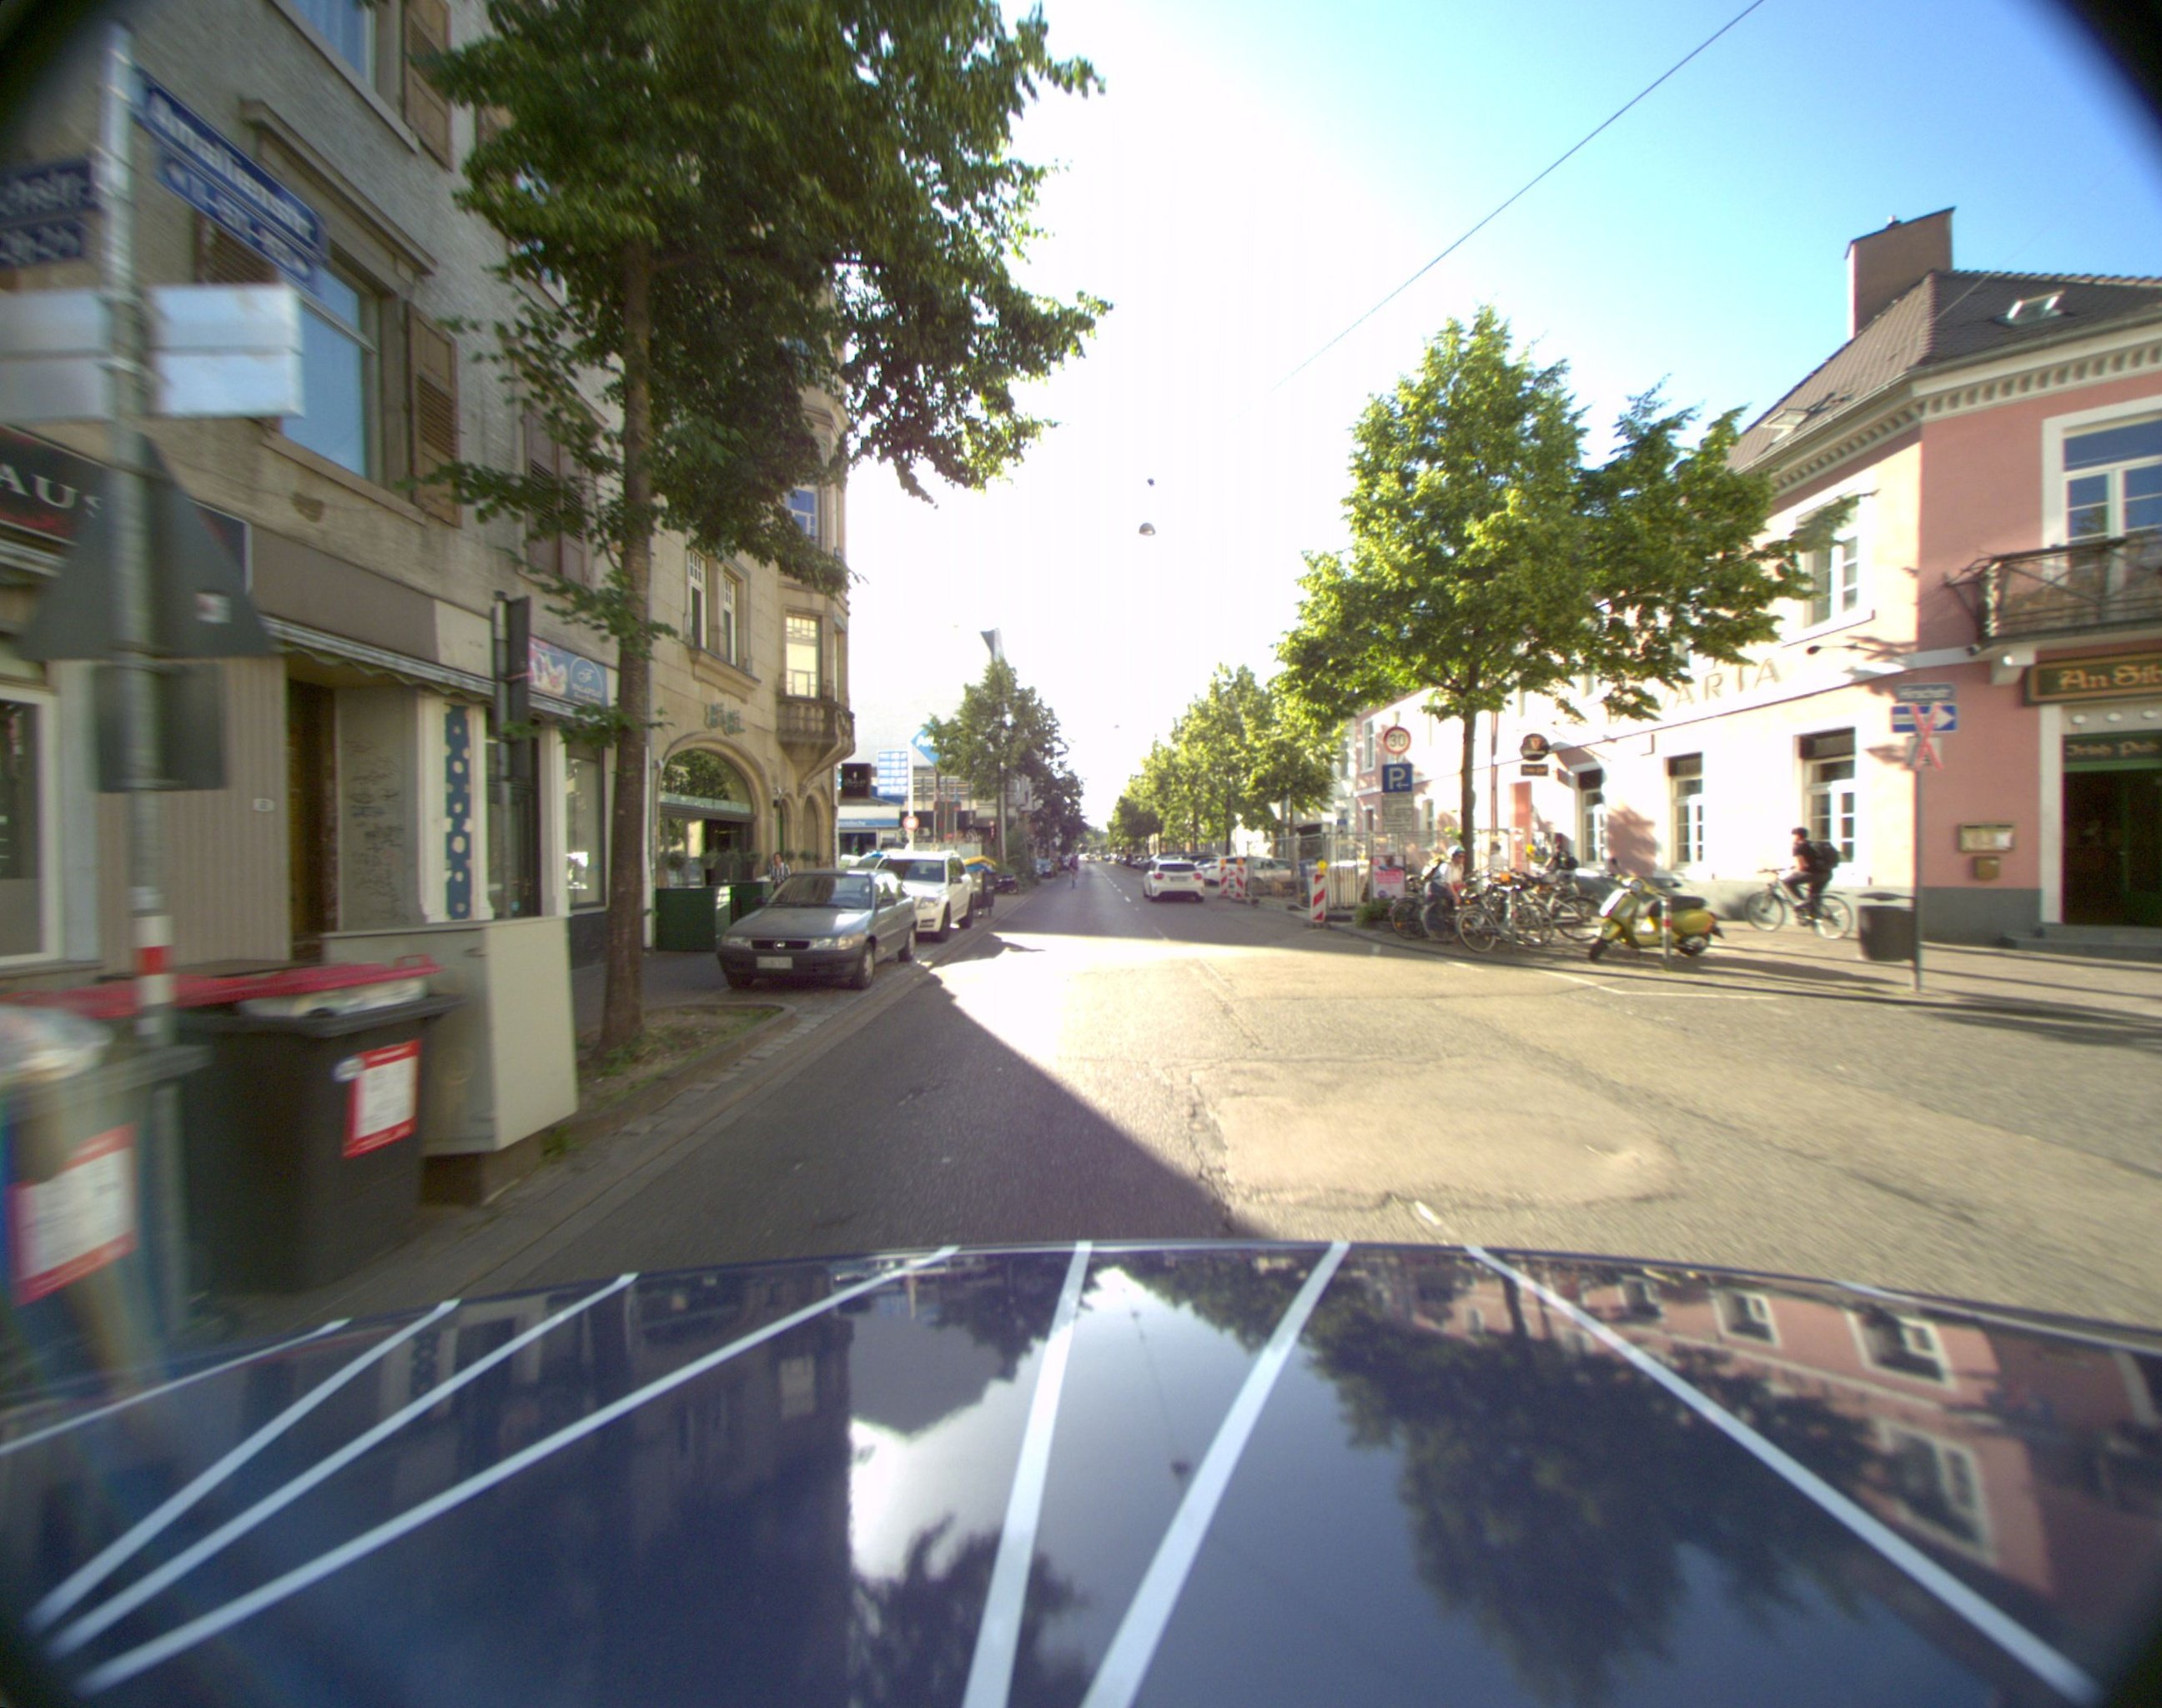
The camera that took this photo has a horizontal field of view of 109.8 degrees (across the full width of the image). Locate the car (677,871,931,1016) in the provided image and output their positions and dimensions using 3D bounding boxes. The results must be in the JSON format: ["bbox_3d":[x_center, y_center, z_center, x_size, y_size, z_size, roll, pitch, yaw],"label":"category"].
[{"bbox_3d":[-3.348,0.997,10.123,1.835,1.410,4.159,1,0,0],"label":"car"}]

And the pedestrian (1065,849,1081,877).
[{"bbox_3d":[-0.407,0.440,38.623,0.804,1.381,0.931,-1,0,-1],"label":"pedestrian"}]

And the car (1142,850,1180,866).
[{"bbox_3d":[9.166,0.494,87.574,4.134,1.792,1.911,-1,0,0],"label":"car"}]

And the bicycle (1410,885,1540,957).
[{"bbox_3d":[6.384,1.069,12.317,2.006,1.023,0.473,-2,1,-12],"label":"bicycle"}]

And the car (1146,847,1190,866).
[{"bbox_3d":[8.473,0.230,74.206,4.134,1.792,1.911,-1,0,0],"label":"car"}]

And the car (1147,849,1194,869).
[{"bbox_3d":[8.245,0.463,70.365,4.134,1.792,1.911,-1,0,0],"label":"car"}]

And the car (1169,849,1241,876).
[{"bbox_3d":[7.640,0.507,47.194,4.134,1.584,1.911,-1,0,0],"label":"car"}]

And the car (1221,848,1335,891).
[{"bbox_3d":[7.993,0.605,31.146,4.134,1.670,2.000,-1,0,0],"label":"car"}]

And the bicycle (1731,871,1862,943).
[{"bbox_3d":[11.574,0.822,12.368,0.570,1.081,1.652,0,-1,0],"label":"bicycle"}]

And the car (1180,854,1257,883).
[{"bbox_3d":[7.991,0.817,44.433,4.134,1.584,1.911,-1,0,0],"label":"car"}]

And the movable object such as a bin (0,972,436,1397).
[{"bbox_3d":[-3.096,1.095,2.739,0.944,1.207,0.699,1,1,1],"label":"movable object such as a bin"}]

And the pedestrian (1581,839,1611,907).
[{"bbox_3d":[13.178,0.478,19.456,0.517,1.716,0.526,0,0,18],"label":"pedestrian"}]

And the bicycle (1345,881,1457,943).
[{"bbox_3d":[5.972,1.066,14.182,2.006,1.023,0.473,-2,1,-12],"label":"bicycle"}]

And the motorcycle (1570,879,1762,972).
[{"bbox_3d":[7.958,0.959,10.403,2.003,1.178,0.740,-1,0,3],"label":"motorcycle"}]

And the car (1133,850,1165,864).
[{"bbox_3d":[9.085,0.416,101.602,4.134,1.792,1.911,-1,0,0],"label":"car"}]

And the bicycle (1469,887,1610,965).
[{"bbox_3d":[6.845,1.058,11.346,2.006,1.023,0.473,-2,1,-12],"label":"bicycle"}]

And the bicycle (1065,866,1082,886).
[{"bbox_3d":[-0.393,1.127,38.636,0.805,0.958,1.996,-1,-1,0],"label":"bicycle"}]

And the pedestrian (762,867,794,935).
[{"bbox_3d":[-6.568,1.017,16.472,0.460,1.434,0.521,-1,1,-1],"label":"pedestrian"}]

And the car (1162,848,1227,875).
[{"bbox_3d":[7.793,0.501,52.484,4.134,1.792,1.911,-1,0,0],"label":"car"}]

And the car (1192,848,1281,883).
[{"bbox_3d":[7.943,0.574,38.985,4.134,1.670,2.000,-1,0,0],"label":"car"}]

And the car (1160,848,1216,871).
[{"bbox_3d":[8.447,0.425,60.207,4.134,1.792,1.911,-1,0,0],"label":"car"}]

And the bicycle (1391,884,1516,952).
[{"bbox_3d":[6.273,1.061,12.799,2.006,1.023,0.473,-2,1,-12],"label":"bicycle"}]

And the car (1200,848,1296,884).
[{"bbox_3d":[7.967,0.559,36.549,4.134,1.670,2.000,-1,0,0],"label":"car"}]

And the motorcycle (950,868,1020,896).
[{"bbox_3d":[-3.794,1.094,29.920,2.656,1.071,0.962,0,0,-14],"label":"motorcycle"}]

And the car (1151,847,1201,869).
[{"bbox_3d":[8.207,0.351,65.815,4.134,1.792,1.911,-1,0,0],"label":"car"}]

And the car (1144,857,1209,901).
[{"bbox_3d":[3.253,0.827,26.525,1.835,1.410,3.833,0,0,1],"label":"car"}]

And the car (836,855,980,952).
[{"bbox_3d":[-3.280,0.872,15.252,1.835,1.641,4.159,1,0,1],"label":"car"}]

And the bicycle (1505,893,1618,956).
[{"bbox_3d":[7.894,1.139,12.520,1.513,0.945,0.360,-2,1,41],"label":"bicycle"}]

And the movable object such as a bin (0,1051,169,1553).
[{"bbox_3d":[-3.021,1.148,1.917,0.721,1.149,0.602,0,0,3],"label":"movable object such as a bin"}]

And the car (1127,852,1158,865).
[{"bbox_3d":[8.600,0.646,106.929,4.134,1.792,1.911,-1,0,0],"label":"car"}]

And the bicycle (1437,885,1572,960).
[{"bbox_3d":[6.597,1.050,11.842,2.006,1.023,0.473,-2,1,-12],"label":"bicycle"}]

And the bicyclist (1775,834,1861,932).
[{"bbox_3d":[11.561,0.436,11.941,0.570,1.495,0.751,0,2,0],"label":"bicyclist"}]

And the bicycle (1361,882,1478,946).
[{"bbox_3d":[6.082,1.057,13.662,2.006,1.023,0.473,-2,1,-12],"label":"bicycle"}]

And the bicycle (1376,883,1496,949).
[{"bbox_3d":[6.179,1.062,13.222,2.006,1.023,0.473,-2,1,-12],"label":"bicycle"}]

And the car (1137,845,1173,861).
[{"bbox_3d":[8.824,-0.112,90.658,4.134,1.792,1.911,-1,0,0],"label":"car"}]
